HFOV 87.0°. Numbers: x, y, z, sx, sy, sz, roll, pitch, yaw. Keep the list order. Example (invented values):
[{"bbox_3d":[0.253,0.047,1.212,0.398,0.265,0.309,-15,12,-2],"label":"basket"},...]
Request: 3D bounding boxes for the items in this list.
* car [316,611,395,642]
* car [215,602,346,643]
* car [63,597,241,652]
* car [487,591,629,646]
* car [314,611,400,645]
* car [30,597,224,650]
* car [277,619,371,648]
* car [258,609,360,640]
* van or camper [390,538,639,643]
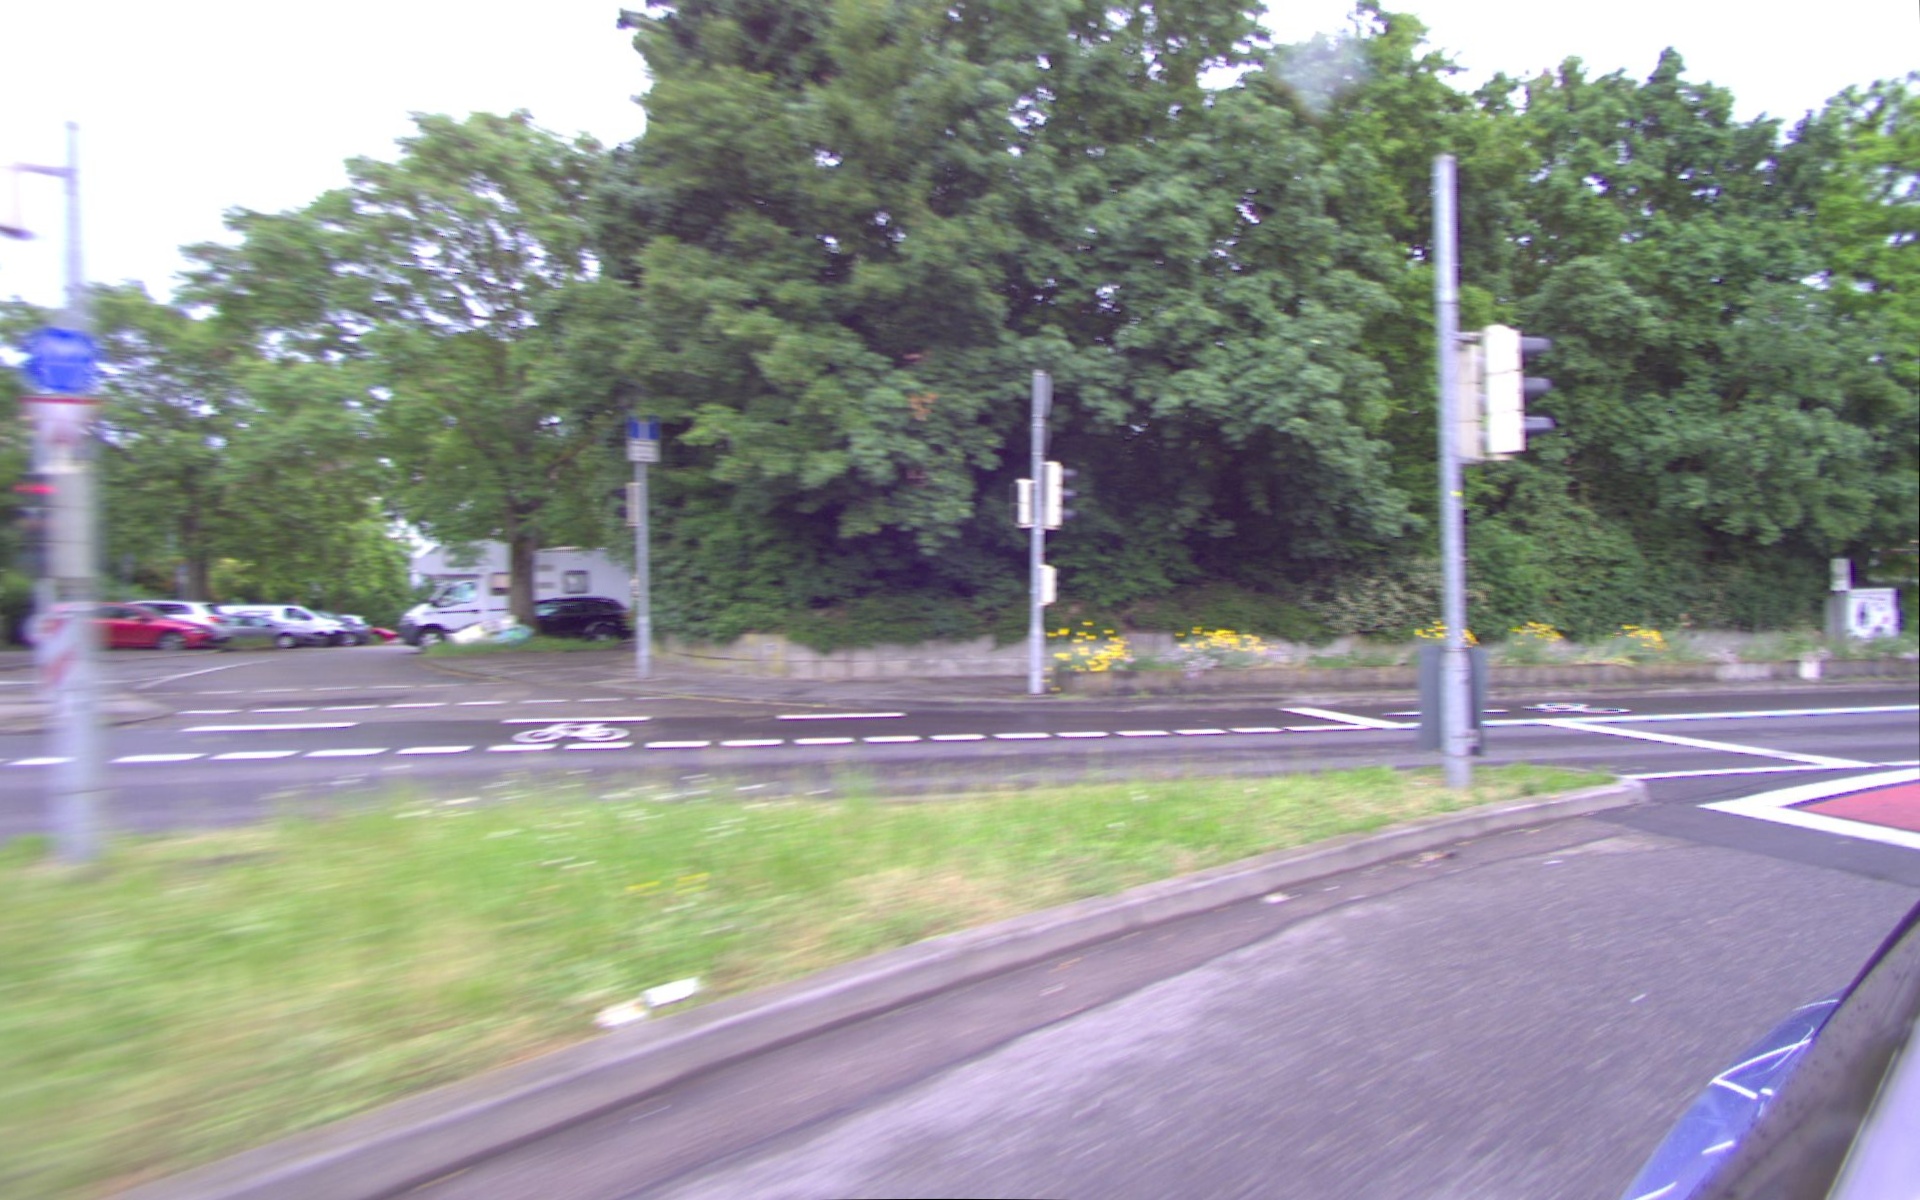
[{"bbox_3d":[-36.257,1.560,60.802,3.917,1.764,1.681,0,1,-24],"label":"car"},{"bbox_3d":[-30.278,0.966,45.246,4.598,1.754,1.883,0,1,-24],"label":"car"},{"bbox_3d":[-24.353,0.708,30.666,3.917,1.568,1.681,0,1,-24],"label":"car"},{"bbox_3d":[-10.644,0.456,26.815,3.400,1.371,1.681,0,1,-24],"label":"car"},{"bbox_3d":[-33.122,1.515,55.715,3.917,1.764,1.681,0,1,-24],"label":"car"},{"bbox_3d":[-23.451,0.627,28.669,3.917,1.371,1.681,0,1,-24],"label":"car"},{"bbox_3d":[-32.996,1.735,52.597,3.917,1.371,1.681,0,1,-24],"label":"car"},{"bbox_3d":[-31.365,1.152,48.868,3.917,1.371,1.681,0,1,-24],"label":"car"},{"bbox_3d":[-12.613,-0.263,29.119,6.297,2.789,2.436,0,1,-21],"label":"van or camper"}]
